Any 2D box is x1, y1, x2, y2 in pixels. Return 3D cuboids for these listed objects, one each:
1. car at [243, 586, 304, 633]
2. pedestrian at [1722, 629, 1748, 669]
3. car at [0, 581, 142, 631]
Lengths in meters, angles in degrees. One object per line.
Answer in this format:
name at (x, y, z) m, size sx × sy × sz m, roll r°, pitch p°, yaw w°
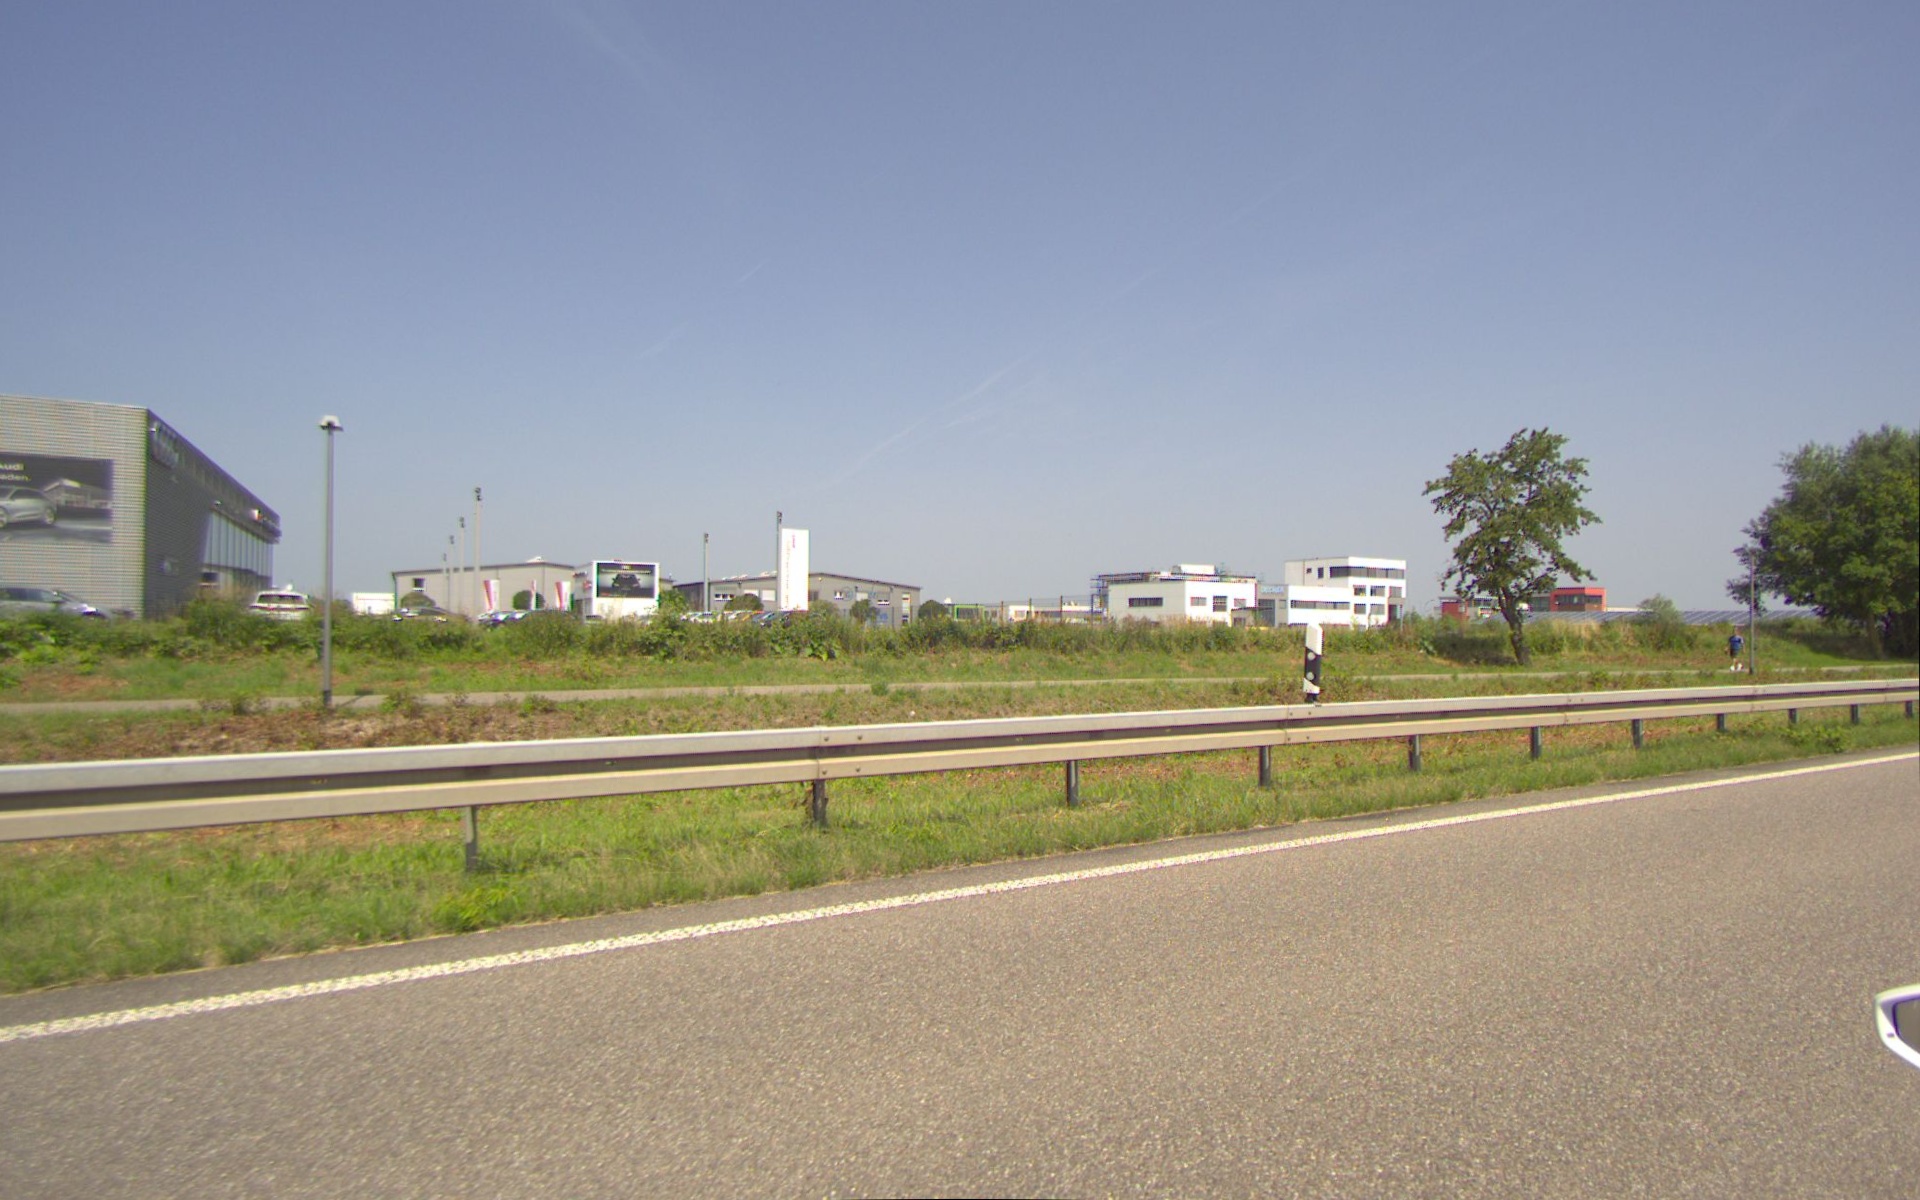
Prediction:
car at (-23.743, 0.375, 34.685) m, size 1.609 × 1.456 × 4.197 m, roll 1°, pitch -3°, yaw -36°
pedestrian at (34.788, 2.202, 45.106) m, size 0.809 × 1.773 × 0.577 m, roll 1°, pitch -2°, yaw -25°
car at (-28.781, 0.213, 31.478) m, size 4.609 × 1.456 × 1.739 m, roll 1°, pitch -3°, yaw -30°
